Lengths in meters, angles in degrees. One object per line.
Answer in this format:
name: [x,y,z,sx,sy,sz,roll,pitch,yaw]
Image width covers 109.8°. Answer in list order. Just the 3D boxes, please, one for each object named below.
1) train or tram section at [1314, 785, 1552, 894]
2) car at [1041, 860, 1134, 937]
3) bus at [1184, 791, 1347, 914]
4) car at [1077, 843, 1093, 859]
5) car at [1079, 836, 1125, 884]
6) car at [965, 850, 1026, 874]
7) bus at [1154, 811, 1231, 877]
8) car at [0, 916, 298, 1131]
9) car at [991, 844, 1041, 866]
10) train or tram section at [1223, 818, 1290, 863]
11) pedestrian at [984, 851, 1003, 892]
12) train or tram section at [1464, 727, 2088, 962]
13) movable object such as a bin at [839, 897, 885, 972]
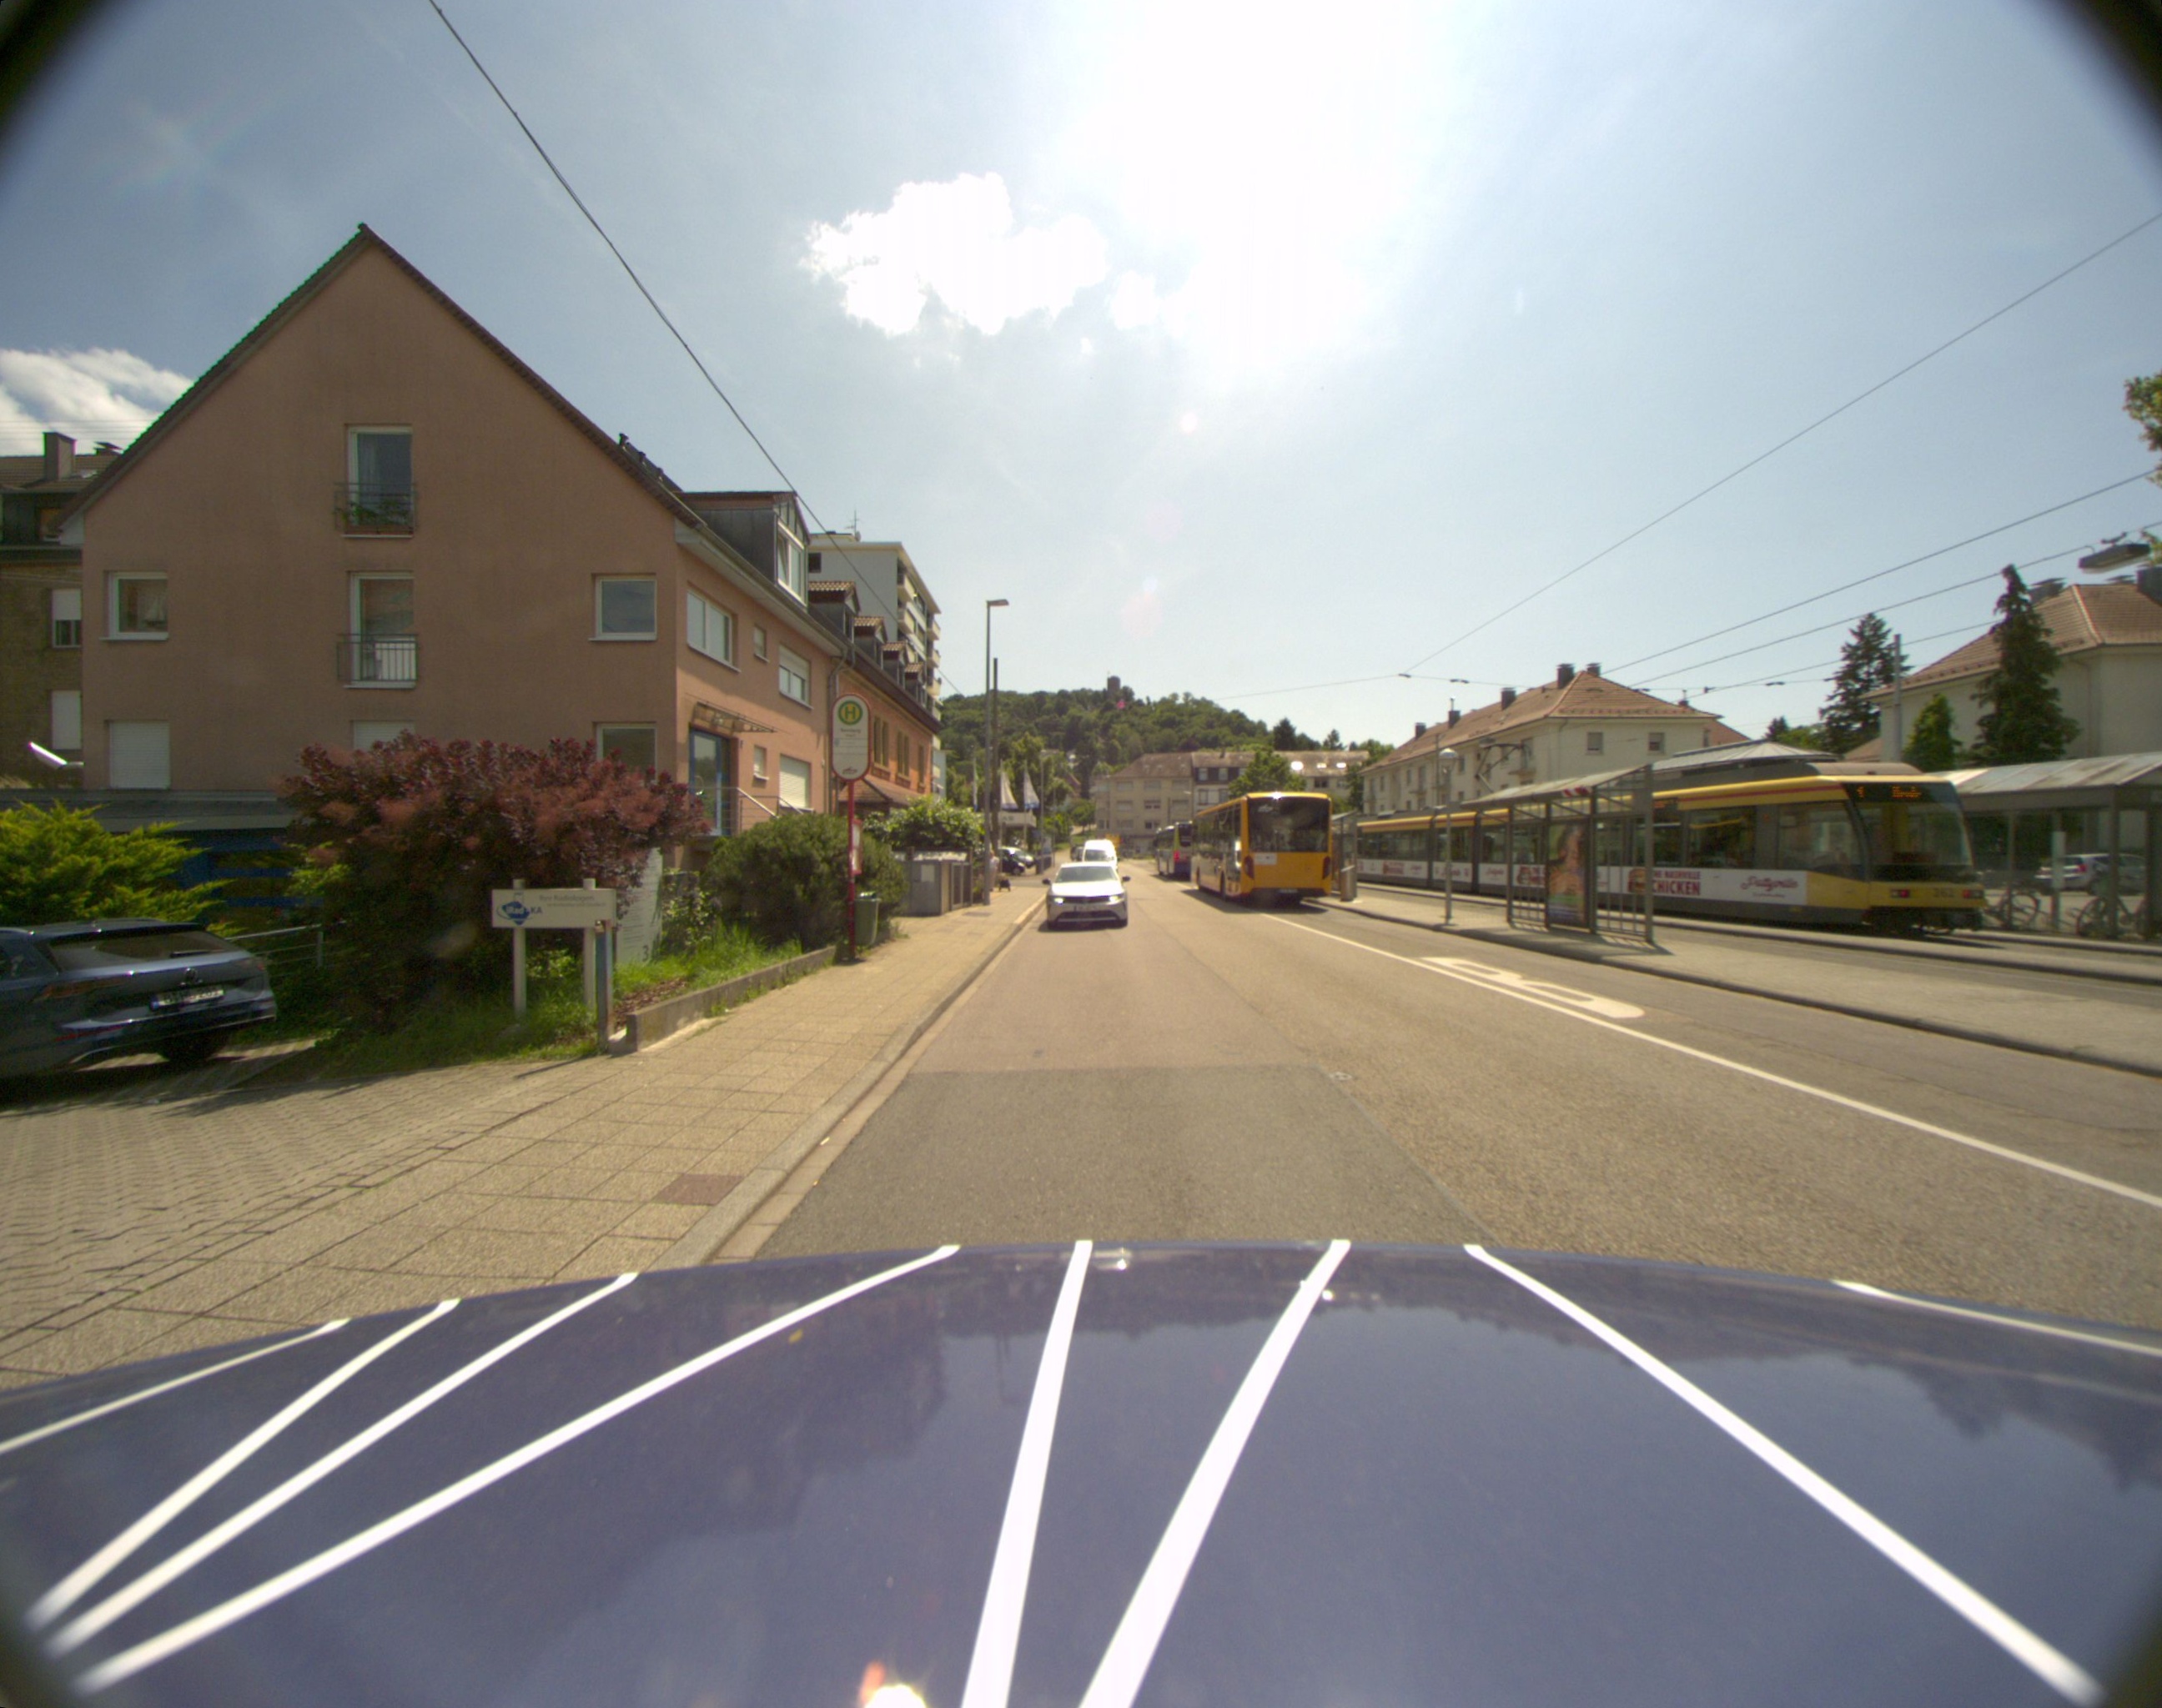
train or tram section: [14.766,-0.627,34.770,2.971,3.622,17.349,-2,1,1]
car: [0.283,0.919,17.385,1.818,1.371,4.392,-1,1,4]
bus: [5.846,-0.232,26.693,2.905,3.229,12.193,-2,2,1]
car: [0.484,-0.372,97.042,1.708,1.840,4.710,-2,2,-2]
car: [1.037,0.248,40.362,1.999,2.259,5.441,-2,2,-2]
car: [-5.725,0.509,50.897,3.890,1.534,1.840,-1,2,-12]
bus: [6.502,-0.521,46.468,2.915,3.407,12.039,-2,0,0]
car: [-9.800,1.552,6.612,4.142,1.417,1.722,-7,1,3]
car: [-5.649,0.118,65.772,4.277,1.780,1.826,-1,3,40]
train or tram section: [15.094,-1.173,66.423,2.971,3.475,12.711,-2,1,1]
pedestrian: [-3.515,0.691,30.325,0.707,1.632,0.659,1,0,-9]
train or tram section: [14.609,-0.253,19.094,2.971,3.622,13.991,-2,1,1]
movable object such as a bin: [-2.958,1.081,10.307,0.407,0.902,0.729,3,2,-3]
